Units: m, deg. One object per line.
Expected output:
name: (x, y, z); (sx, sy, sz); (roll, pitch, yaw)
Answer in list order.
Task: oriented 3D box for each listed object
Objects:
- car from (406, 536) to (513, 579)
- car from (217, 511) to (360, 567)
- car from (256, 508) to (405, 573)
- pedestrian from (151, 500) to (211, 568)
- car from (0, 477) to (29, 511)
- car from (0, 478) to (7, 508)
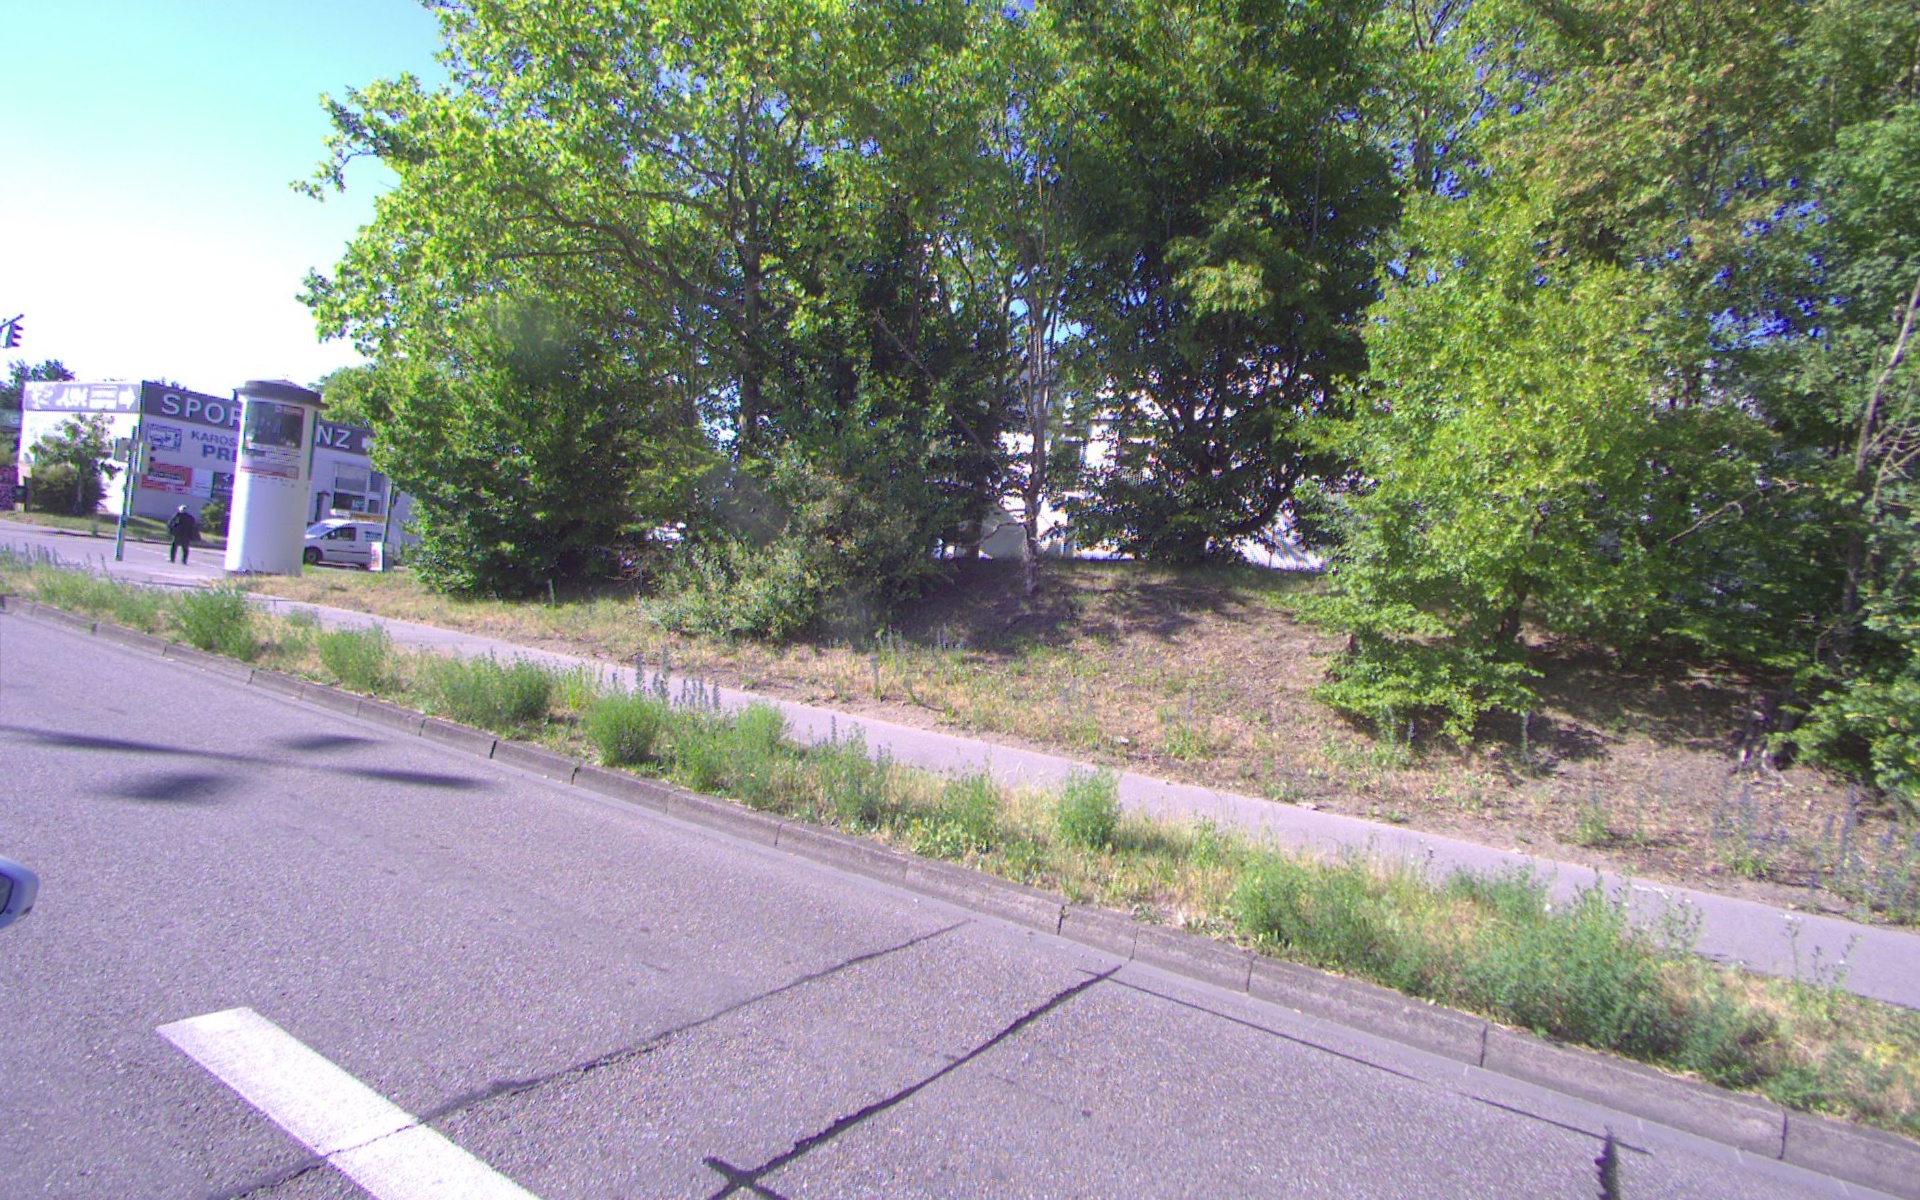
car: (-23.003, -1.945, 46.378); (1.752, 1.509, 4.046); (7, 1, 30)
car: (-26.617, -2.380, 40.018); (1.735, 1.568, 4.292); (9, 1, 30)
car: (-23.841, -2.204, 38.269); (1.735, 1.824, 4.387); (9, 1, 30)
pedestrian: (-22.314, -1.878, 28.805); (0.923, 1.755, 0.927); (6, -1, 31)
car: (-46.885, -5.224, 47.099); (1.828, 1.472, 4.490); (7, 1, 33)
car: (-49.236, -5.491, 48.469); (1.828, 1.472, 4.490); (7, 1, 33)
